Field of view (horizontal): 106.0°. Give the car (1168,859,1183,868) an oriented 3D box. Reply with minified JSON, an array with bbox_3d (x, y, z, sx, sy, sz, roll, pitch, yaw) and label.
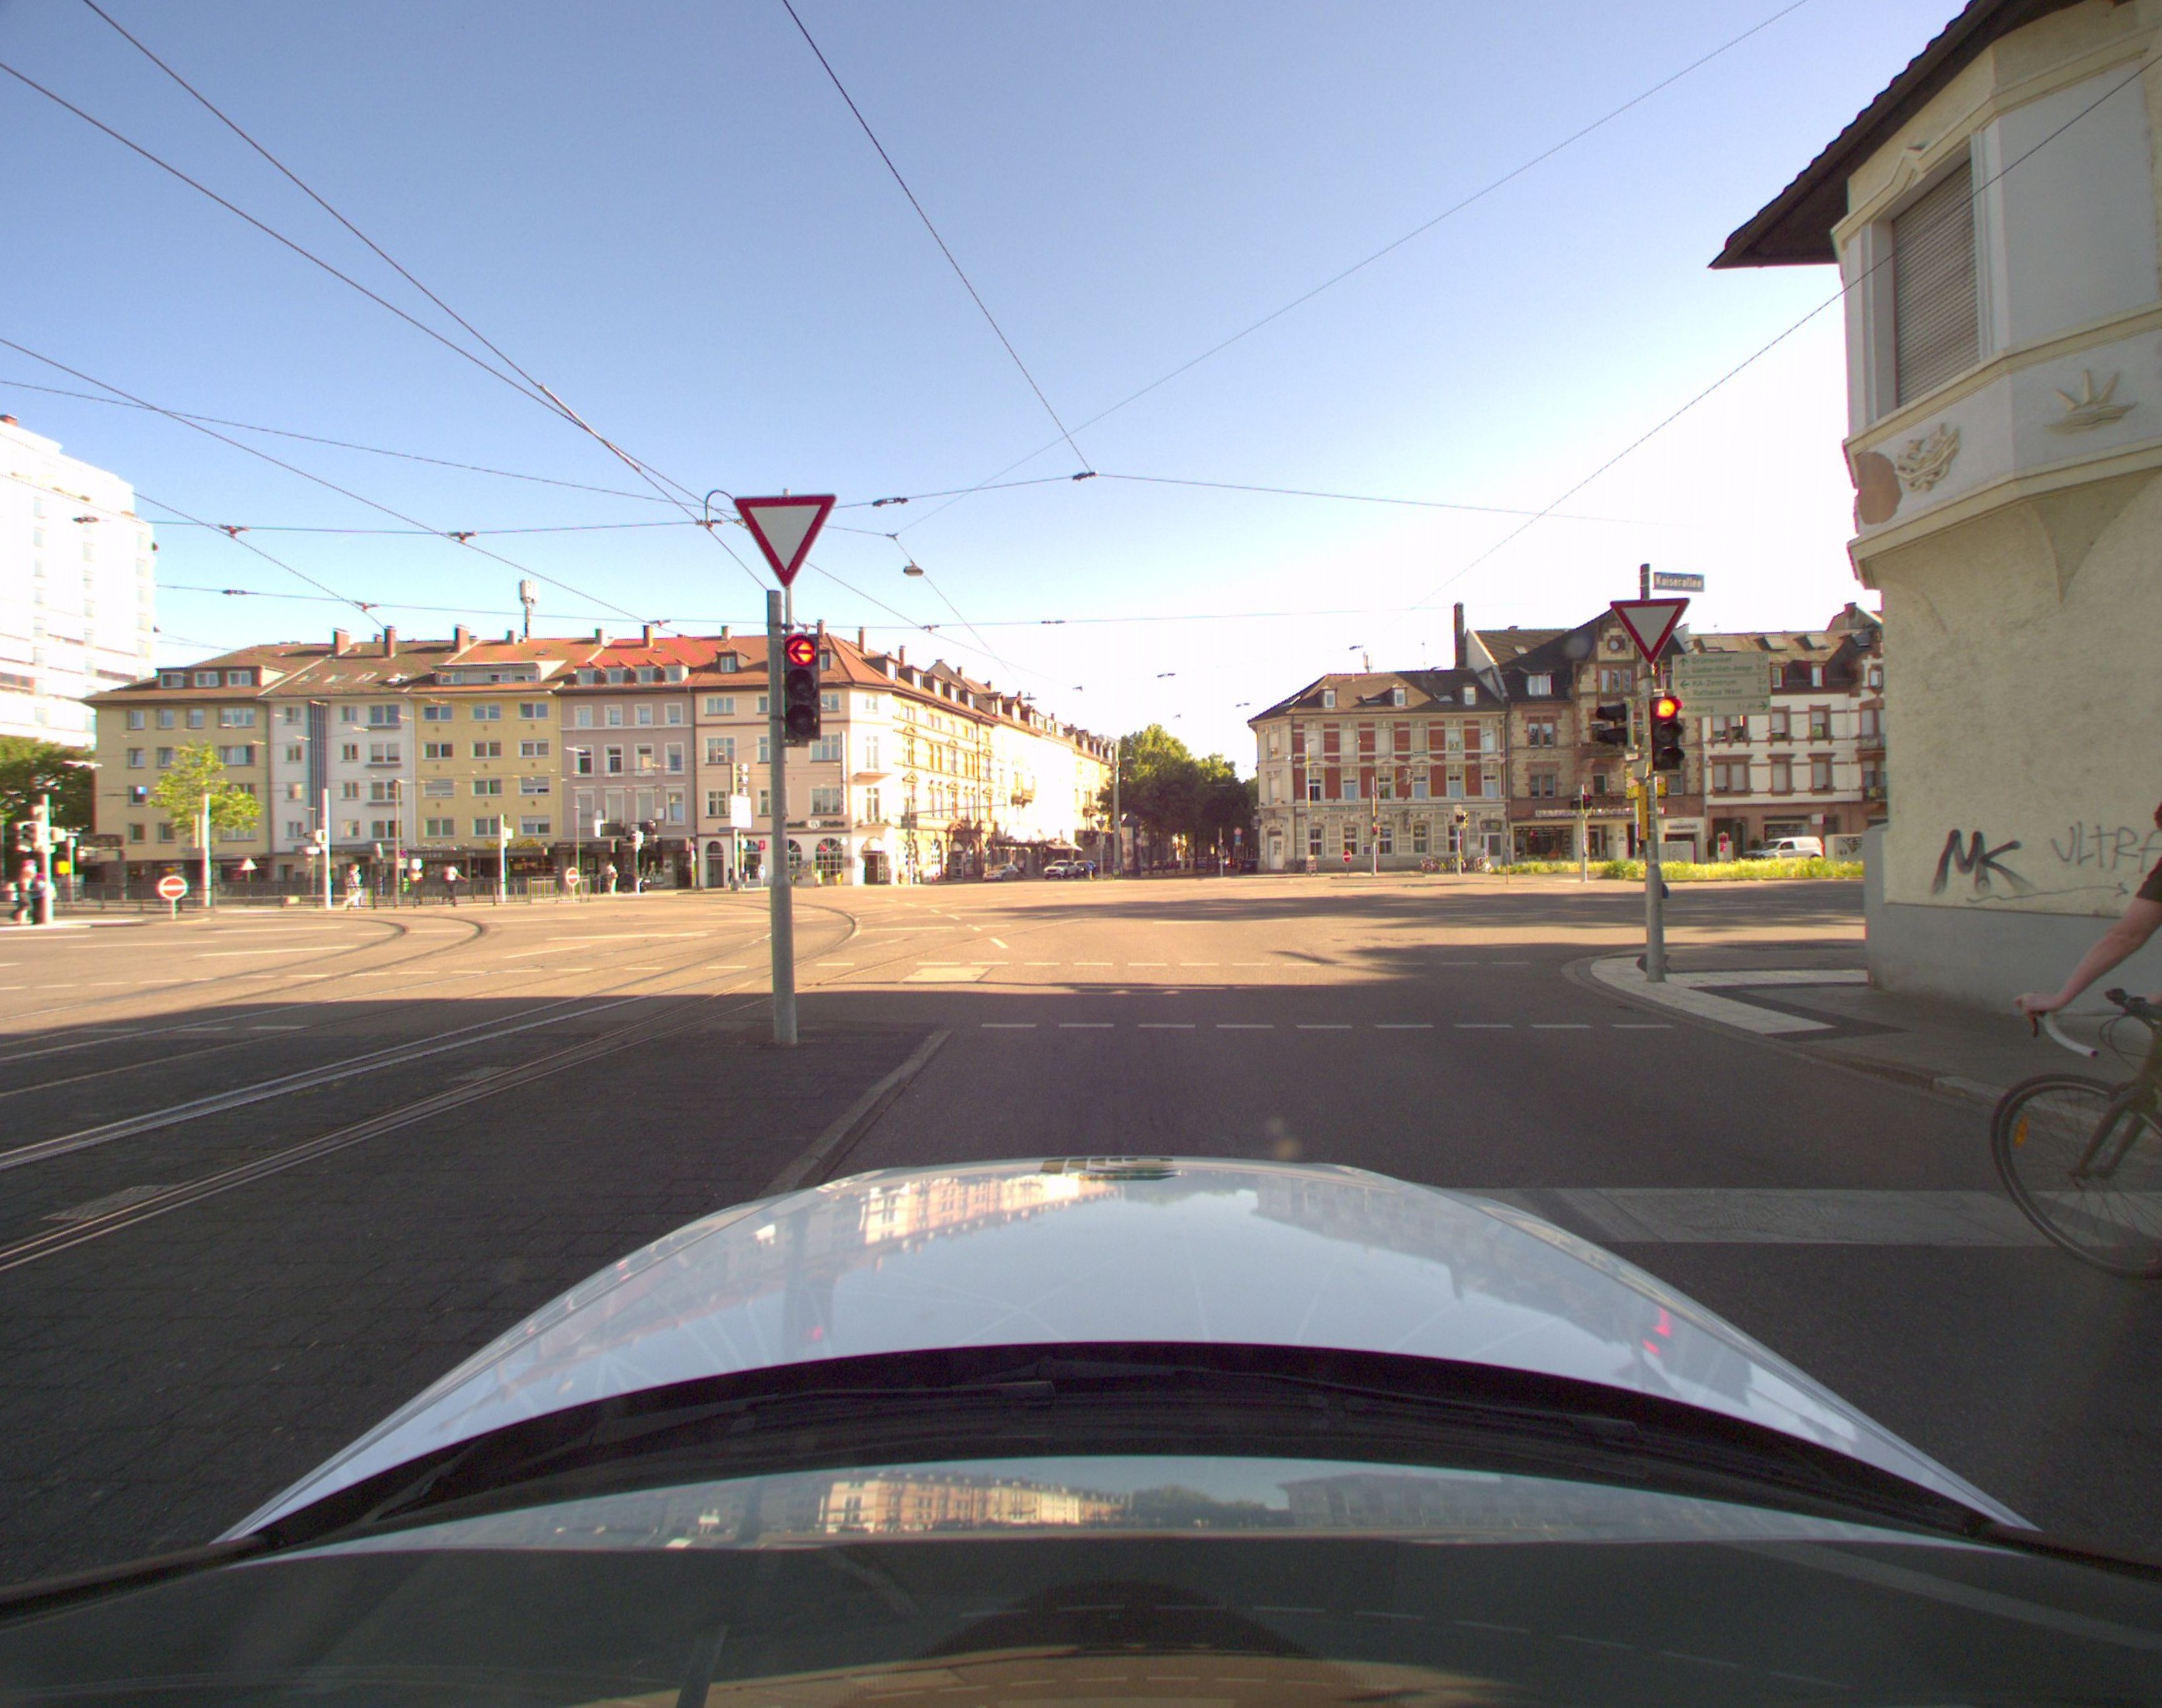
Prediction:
[{"bbox_3d":[15.730,1.520,135.600,1.664,1.354,3.608,-2,0,19],"label":"car"}]

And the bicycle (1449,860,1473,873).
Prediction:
[{"bbox_3d":[24.574,0.808,52.745,0.656,0.840,2.162,0,-1,3],"label":"bicycle"}]

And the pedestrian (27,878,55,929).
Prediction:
[{"bbox_3d":[-31.910,1.500,24.991,0.456,1.505,0.485,-1,1,38],"label":"pedestrian"}]

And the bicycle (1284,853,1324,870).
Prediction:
[{"bbox_3d":[15.610,0.499,57.057,2.547,1.174,0.818,0,-1,-1],"label":"bicycle"}]

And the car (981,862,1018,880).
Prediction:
[{"bbox_3d":[-6.703,1.424,67.225,1.664,1.354,3.608,-2,0,19],"label":"car"}]

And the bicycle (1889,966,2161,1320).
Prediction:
[{"bbox_3d":[3.603,0.957,2.508,0.516,0.970,1.750,-1,0,2],"label":"bicycle"}]

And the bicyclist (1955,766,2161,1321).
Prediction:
[{"bbox_3d":[3.579,0.576,2.499,0.570,1.701,1.117,-1,0,2],"label":"bicyclist"}]

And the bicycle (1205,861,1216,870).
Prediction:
[{"bbox_3d":[15.778,1.390,99.278,0.636,1.021,1.839,0,-1,-12],"label":"bicycle"}]

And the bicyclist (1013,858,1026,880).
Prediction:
[{"bbox_3d":[-4.934,1.209,65.414,0.772,1.803,1.060,-1,-1,16],"label":"bicyclist"}]

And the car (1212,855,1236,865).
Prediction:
[{"bbox_3d":[23.365,0.964,133.152,3.549,1.648,1.691,-2,0,19],"label":"car"}]

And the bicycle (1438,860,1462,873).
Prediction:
[{"bbox_3d":[23.891,0.813,52.738,0.656,0.840,2.162,0,-1,3],"label":"bicycle"}]

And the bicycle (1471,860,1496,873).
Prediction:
[{"bbox_3d":[26.014,0.797,52.715,0.656,0.840,2.162,0,-1,3],"label":"bicycle"}]

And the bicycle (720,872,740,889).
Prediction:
[{"bbox_3d":[-22.790,1.702,52.891,0.570,1.077,1.497,0,-1,2],"label":"bicycle"}]

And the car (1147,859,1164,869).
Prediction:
[{"bbox_3d":[11.252,1.501,122.362,1.664,1.354,3.608,-2,0,19],"label":"car"}]

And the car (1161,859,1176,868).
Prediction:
[{"bbox_3d":[14.043,1.501,130.607,1.664,1.354,3.608,-2,0,19],"label":"car"}]

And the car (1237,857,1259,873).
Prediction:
[{"bbox_3d":[16.911,1.096,82.332,1.664,1.483,3.967,-2,0,19],"label":"car"}]

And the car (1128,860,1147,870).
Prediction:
[{"bbox_3d":[7.707,1.488,111.321,1.664,1.354,3.608,-2,0,19],"label":"car"}]

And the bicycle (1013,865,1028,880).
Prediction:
[{"bbox_3d":[-4.888,1.484,65.533,0.696,1.118,1.642,-1,-1,16],"label":"bicycle"}]

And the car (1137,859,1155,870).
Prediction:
[{"bbox_3d":[9.182,1.491,115.445,1.664,1.354,3.608,-2,0,19],"label":"car"}]

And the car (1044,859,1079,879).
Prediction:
[{"bbox_3d":[-1.598,1.214,67.509,1.664,1.483,3.789,-2,0,19],"label":"car"}]

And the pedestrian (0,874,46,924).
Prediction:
[{"bbox_3d":[-34.491,1.441,26.504,0.657,1.577,0.889,-1,-1,29],"label":"pedestrian"}]

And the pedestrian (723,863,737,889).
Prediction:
[{"bbox_3d":[-22.791,1.411,52.917,0.580,1.670,0.753,0,-1,2],"label":"pedestrian"}]

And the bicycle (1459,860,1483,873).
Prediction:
[{"bbox_3d":[25.211,0.803,52.700,0.656,0.840,2.162,0,-1,3],"label":"bicycle"}]

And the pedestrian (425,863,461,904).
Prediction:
[{"bbox_3d":[-25.215,1.151,32.189,0.720,1.577,0.836,-1,-1,11],"label":"pedestrian"}]

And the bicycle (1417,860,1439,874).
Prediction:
[{"bbox_3d":[22.432,0.823,52.694,0.656,0.840,2.162,0,-1,3],"label":"bicycle"}]

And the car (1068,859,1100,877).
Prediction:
[{"bbox_3d":[0.314,1.241,73.768,1.664,1.483,3.967,-2,0,19],"label":"car"}]

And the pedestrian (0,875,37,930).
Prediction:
[{"bbox_3d":[-32.915,1.500,25.240,0.456,1.644,0.643,-1,1,38],"label":"pedestrian"}]

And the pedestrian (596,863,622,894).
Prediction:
[{"bbox_3d":[-24.639,1.288,42.541,0.842,1.577,0.836,-1,-1,11],"label":"pedestrian"}]

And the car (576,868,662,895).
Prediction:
[{"bbox_3d":[-30.359,1.791,53.637,4.347,1.711,2.308,0,-1,4],"label":"car"}]

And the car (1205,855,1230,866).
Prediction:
[{"bbox_3d":[21.459,1.057,127.719,3.549,1.648,1.691,-2,0,19],"label":"car"}]

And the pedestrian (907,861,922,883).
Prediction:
[{"bbox_3d":[-12.334,1.332,60.380,0.770,1.670,0.834,-1,-1,17],"label":"pedestrian"}]

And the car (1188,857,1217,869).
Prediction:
[{"bbox_3d":[17.213,1.256,115.453,3.870,1.648,1.691,-2,0,19],"label":"car"}]

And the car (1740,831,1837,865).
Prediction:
[{"bbox_3d":[45.448,-0.384,52.398,4.406,2.013,2.002,-1,0,4],"label":"car"}]

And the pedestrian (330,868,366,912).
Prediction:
[{"bbox_3d":[-26.617,1.287,29.593,0.545,1.577,0.838,-1,-1,29],"label":"pedestrian"}]

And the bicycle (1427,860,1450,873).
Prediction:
[{"bbox_3d":[23.167,0.818,52.753,0.656,0.840,2.162,0,-1,3],"label":"bicycle"}]
